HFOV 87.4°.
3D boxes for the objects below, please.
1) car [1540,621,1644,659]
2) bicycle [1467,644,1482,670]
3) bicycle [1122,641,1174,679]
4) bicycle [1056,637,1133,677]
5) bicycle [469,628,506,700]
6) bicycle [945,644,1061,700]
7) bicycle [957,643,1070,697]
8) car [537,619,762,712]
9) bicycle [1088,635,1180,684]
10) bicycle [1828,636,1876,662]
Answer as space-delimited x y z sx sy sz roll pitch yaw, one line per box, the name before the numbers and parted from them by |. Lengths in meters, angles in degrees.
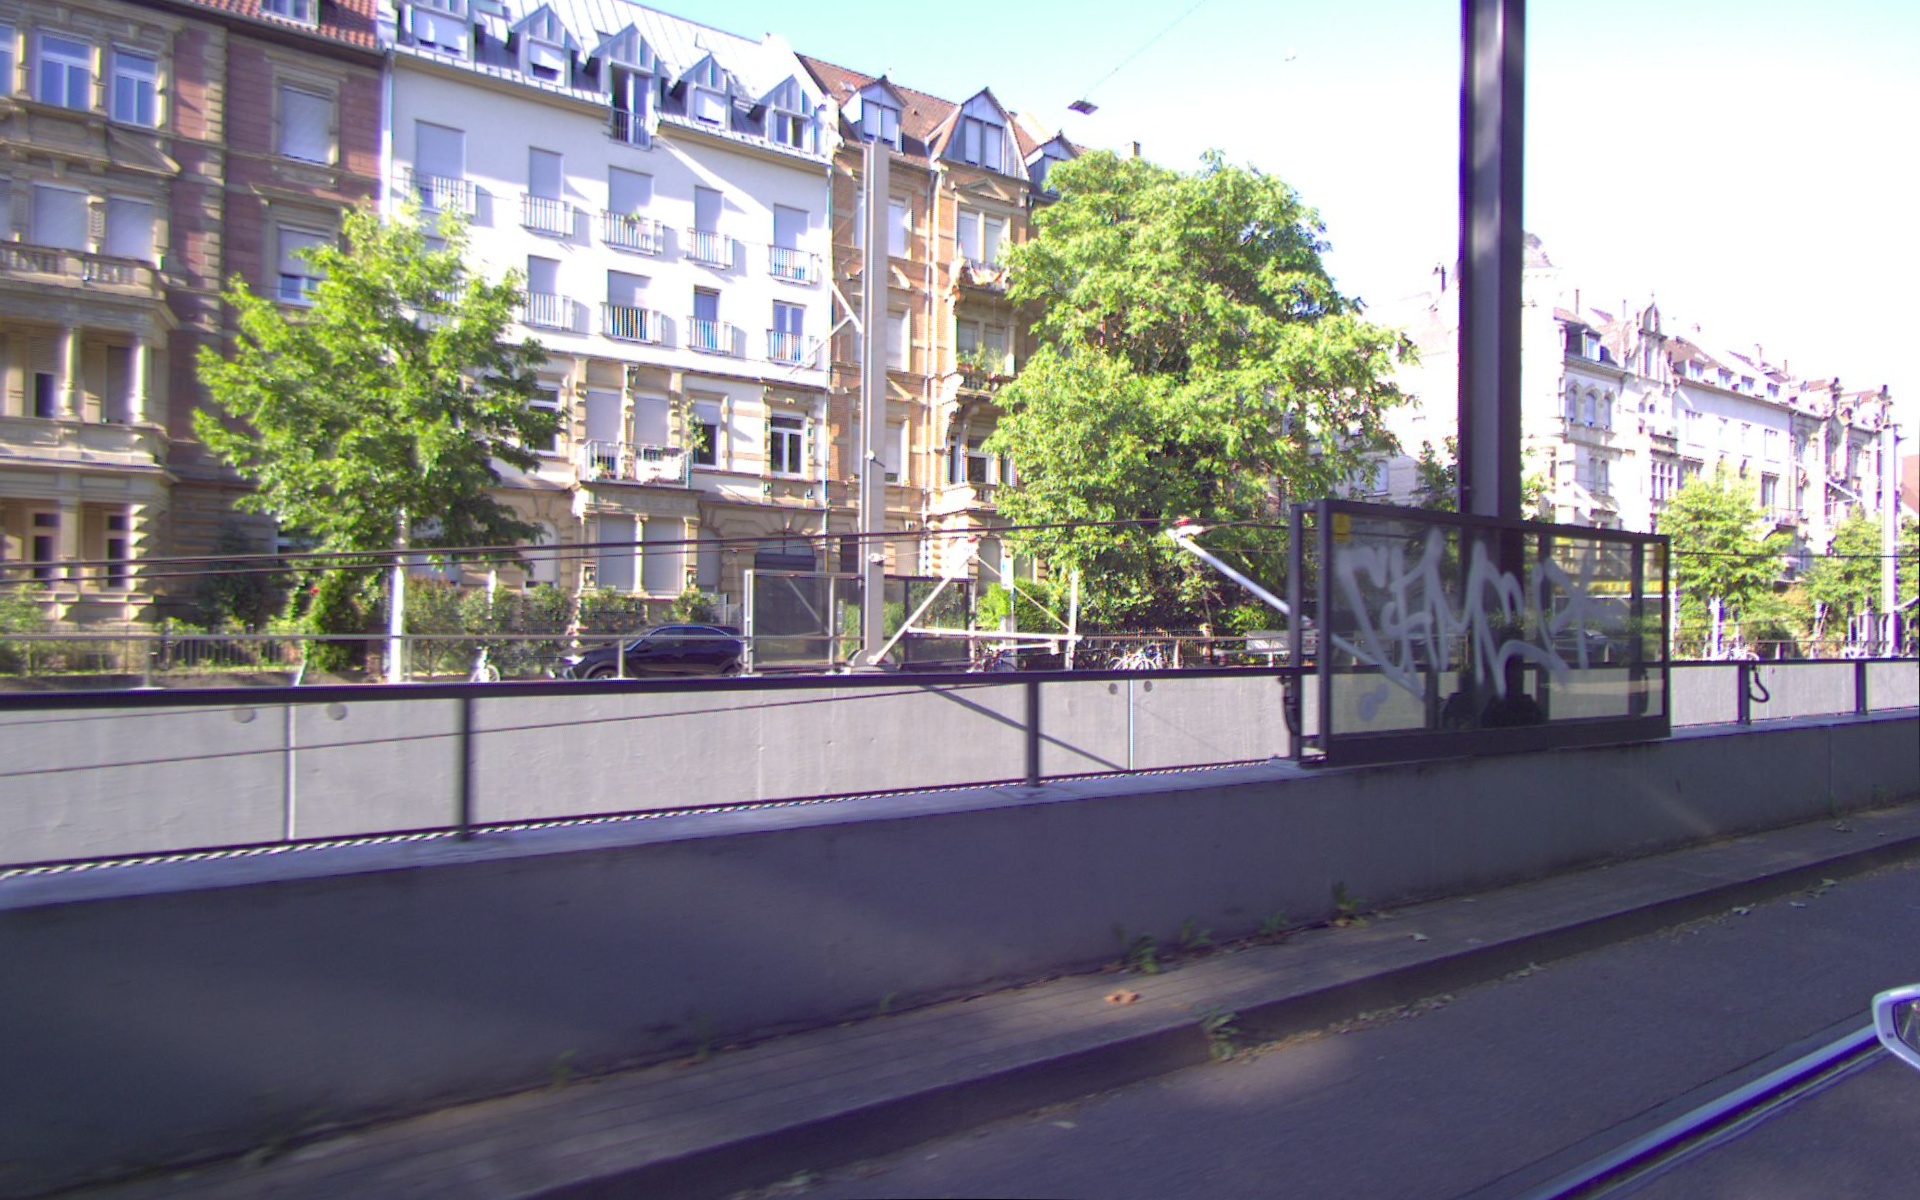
car | 31.055 1.924 49.421 1.810 1.646 3.954 1 0 -39
bicycle | 20.430 2.271 39.888 0.447 1.018 1.942 2 -2 29
bicycle | 5.071 1.607 27.058 1.246 0.917 0.538 2 1 30
bicycle | 3.931 1.644 29.221 2.348 1.113 0.552 1 1 -31
bicycle | -8.922 1.181 18.949 0.555 1.194 1.801 1 1 -27
bicycle | 1.003 1.694 24.035 2.736 1.113 0.642 2 1 28
bicycle | 1.286 1.691 24.670 2.736 1.113 0.642 2 1 28
car | -6.173 1.234 20.051 3.956 1.606 1.822 1 1 -33
bicycle | 4.597 1.562 26.662 2.333 1.113 0.556 2 1 30
bicycle | 44.774 2.451 50.448 0.591 1.296 1.726 1 -1 -23
